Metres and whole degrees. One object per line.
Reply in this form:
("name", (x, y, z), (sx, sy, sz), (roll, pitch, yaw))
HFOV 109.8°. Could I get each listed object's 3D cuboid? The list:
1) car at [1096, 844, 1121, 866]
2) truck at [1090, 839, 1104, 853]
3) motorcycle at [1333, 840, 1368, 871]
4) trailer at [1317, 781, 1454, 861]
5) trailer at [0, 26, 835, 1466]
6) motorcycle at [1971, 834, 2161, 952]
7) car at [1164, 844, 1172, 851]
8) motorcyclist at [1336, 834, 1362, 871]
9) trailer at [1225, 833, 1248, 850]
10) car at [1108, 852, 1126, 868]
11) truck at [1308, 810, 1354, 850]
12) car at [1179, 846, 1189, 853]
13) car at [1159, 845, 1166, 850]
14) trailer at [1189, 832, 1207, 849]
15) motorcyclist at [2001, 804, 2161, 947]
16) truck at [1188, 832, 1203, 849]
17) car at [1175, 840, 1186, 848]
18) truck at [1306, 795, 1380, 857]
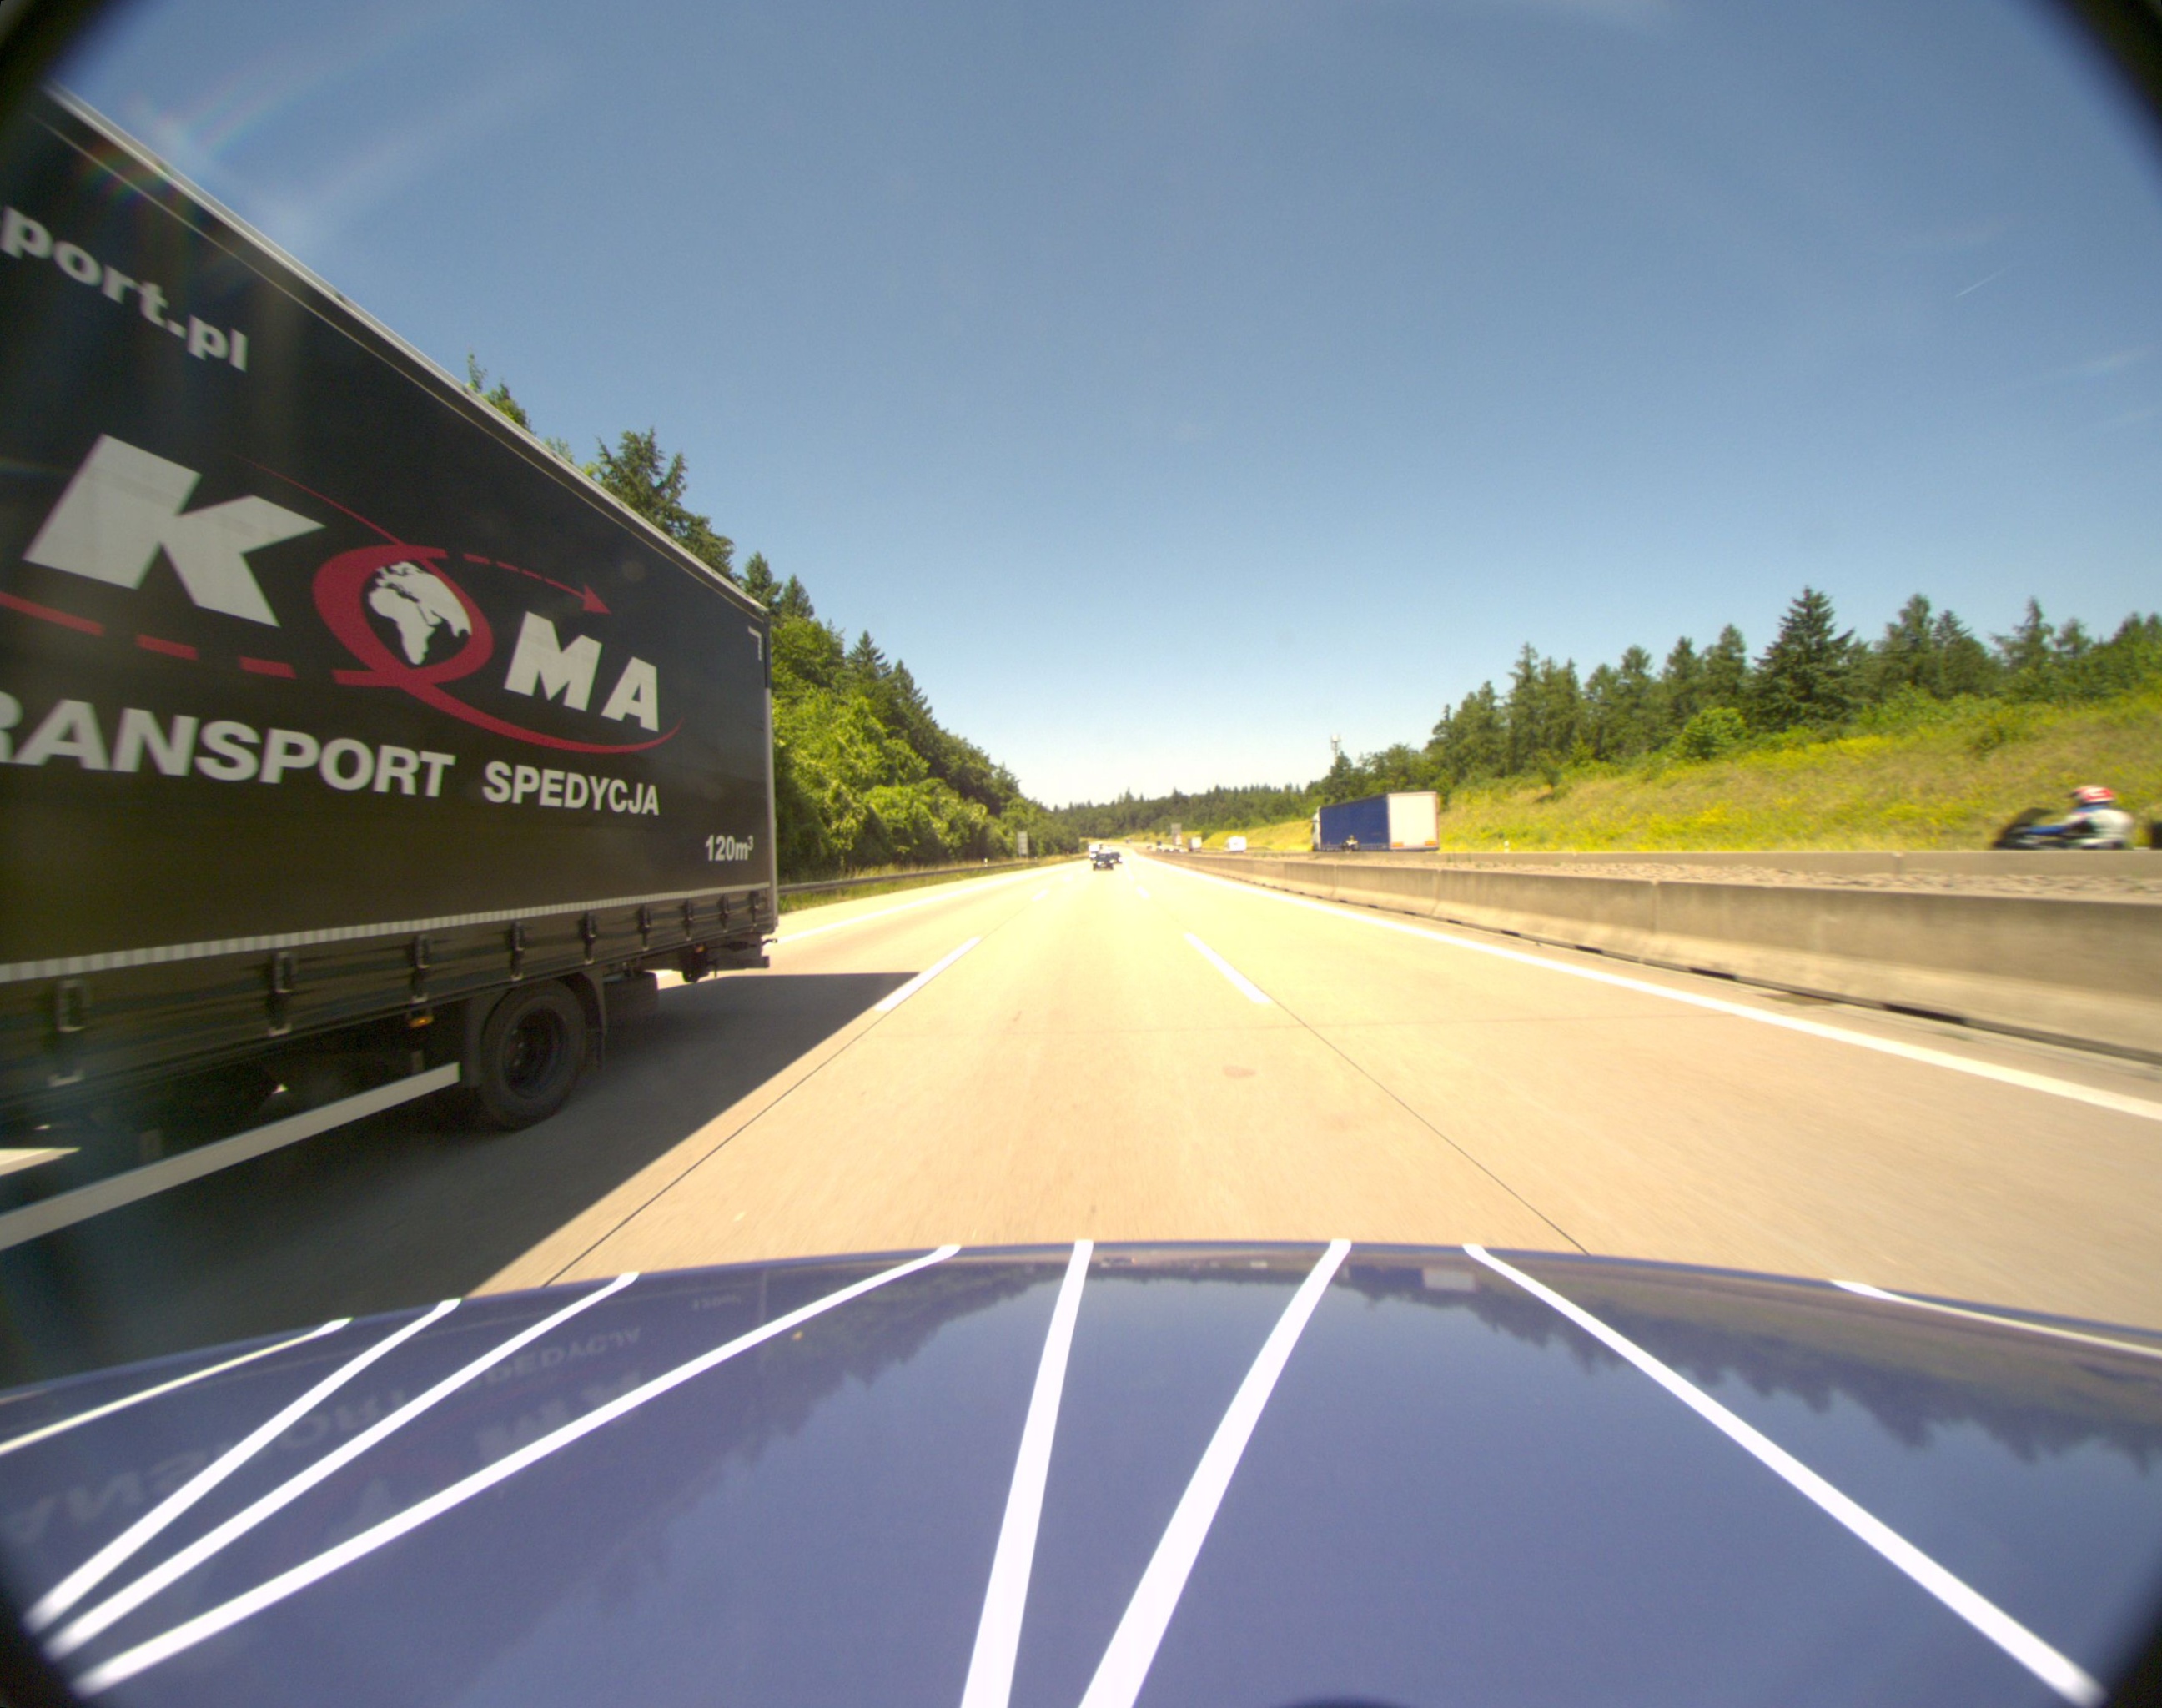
("car", (2.471, 0.087, 66.909), (1.930, 1.694, 4.400), (-4, 1, 5))
("truck", (3.568, -1.774, 166.893), (2.483, 2.780, 5.916), (-4, 1, 5))
("motorcycle", (14.026, 0.065, 39.628), (1.010, 1.540, 2.484), (-2, 1, 2))
("trailer", (17.769, -1.808, 45.873), (3.168, 3.910, 13.867), (-4, 1, 3))
("trailer", (-4.529, -0.307, 4.151), (3.142, 3.993, 9.087), (-2, 1, 1))
("motorcycle", (13.069, 0.448, 9.637), (0.826, 1.364, 2.357), (-2, 1, 2))
("car", (23.636, -1.758, 206.106), (1.998, 1.549, 4.499), (-3, 0, 3))
("motorcyclist", (13.995, -0.087, 39.745), (0.820, 1.863, 1.492), (-2, 1, 2))
("trailer", (26.567, -2.121, 130.056), (2.612, 2.616, 7.782), (-3, 0, 3))
("car", (4.646, 0.762, 97.634), (1.998, 1.694, 4.400), (-4, 1, 5))
("truck", (22.879, -2.194, 69.642), (2.731, 3.394, 4.512), (-4, 1, 3))
("car", (26.349, -1.162, 194.848), (1.998, 1.549, 4.499), (-3, 0, 3))
("car", (28.198, -2.198, 262.878), (1.998, 1.682, 4.372), (-4, 0, 3))
("trailer", (32.190, -3.739, 209.843), (3.395, 4.406, 13.925), (-4, 1, 3))
("motorcyclist", (13.068, 0.238, 9.744), (0.694, 1.699, 1.525), (-2, 1, 2))
("truck", (32.595, -3.871, 216.870), (3.395, 4.406, 6.801), (-4, 1, 3))
("car", (21.331, -2.074, 162.970), (1.998, 1.510, 4.001), (-3, 0, 3))
("truck", (18.178, -1.911, 53.122), (3.168, 3.910, 5.836), (-4, 1, 3))
